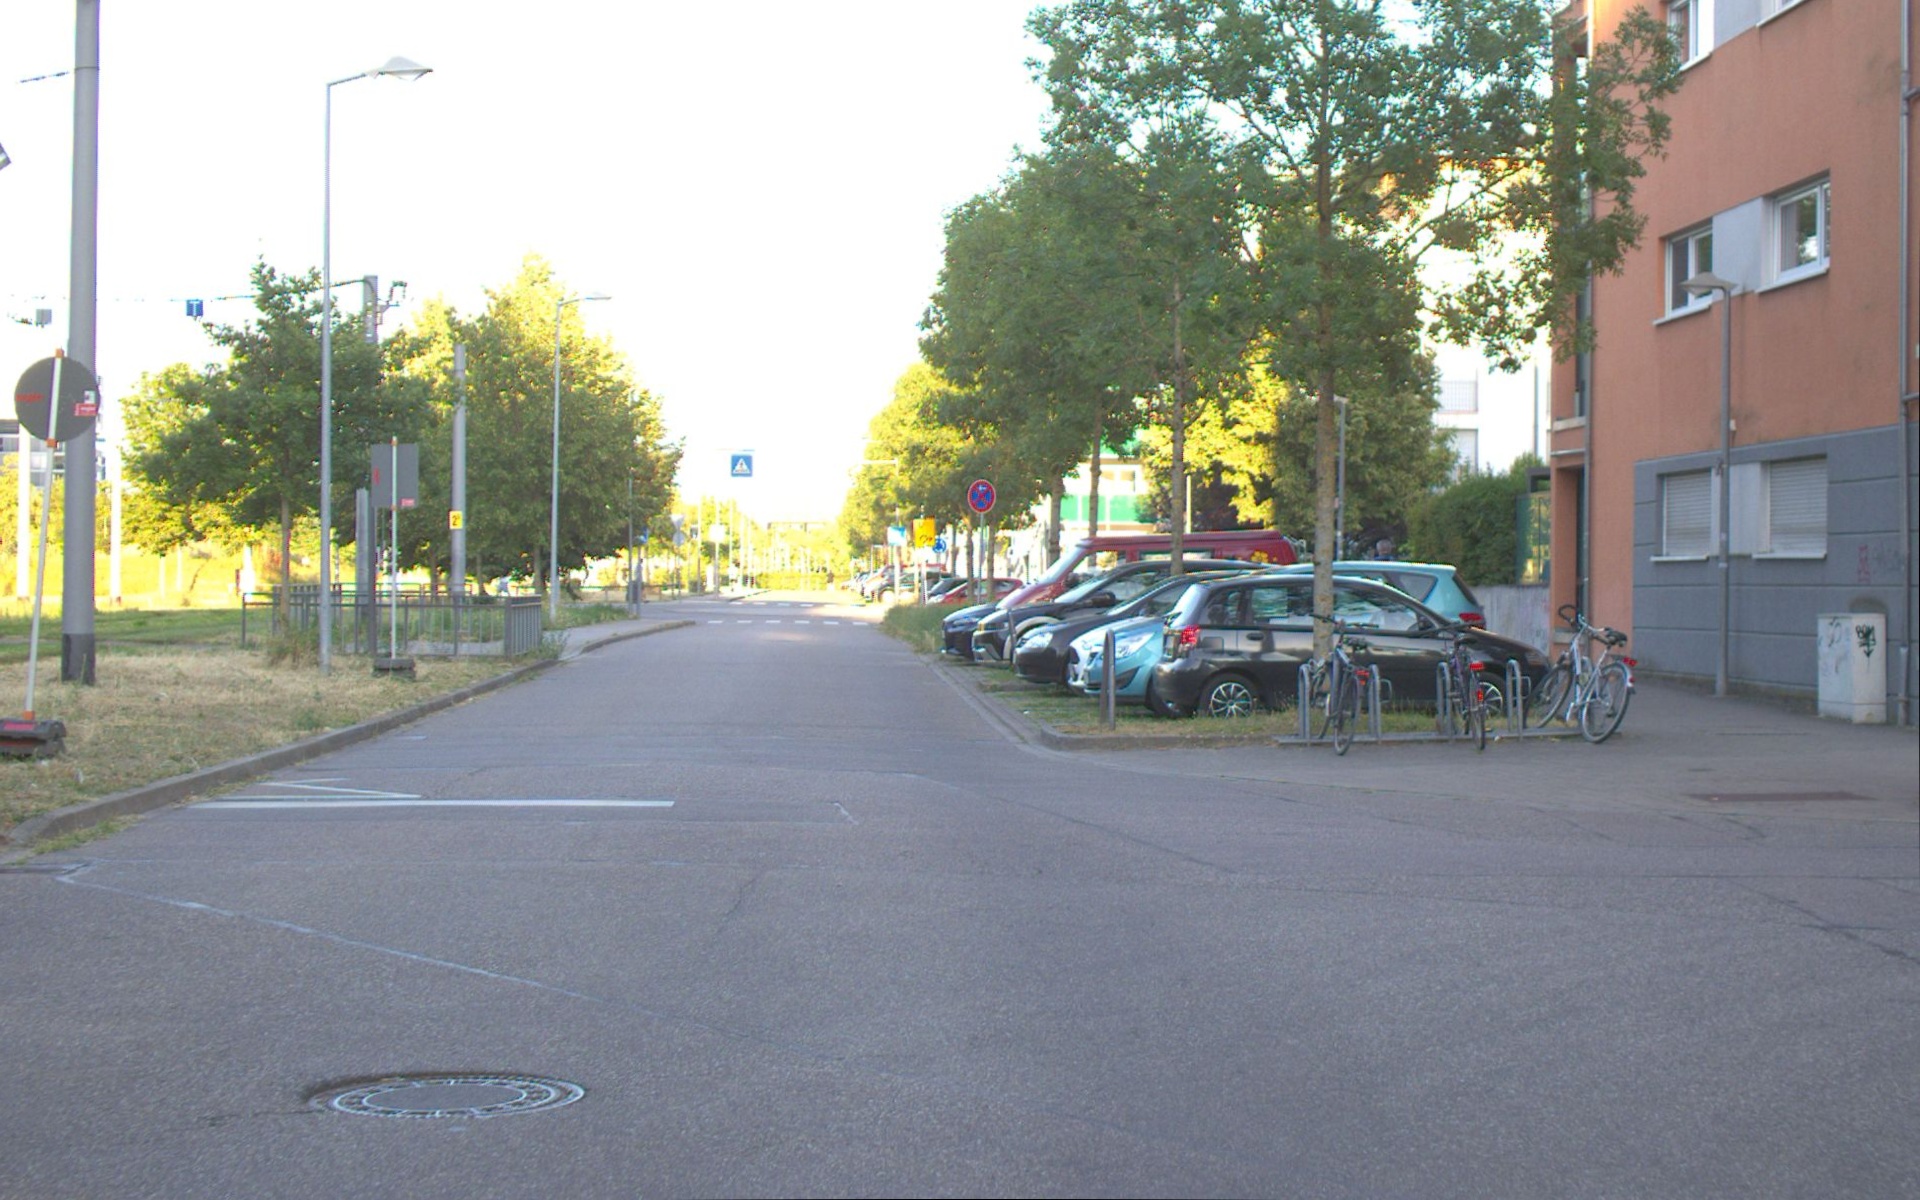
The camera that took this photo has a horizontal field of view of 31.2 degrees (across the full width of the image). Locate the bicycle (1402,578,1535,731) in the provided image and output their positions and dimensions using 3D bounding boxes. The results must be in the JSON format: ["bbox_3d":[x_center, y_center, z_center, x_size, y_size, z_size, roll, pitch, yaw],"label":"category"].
[{"bbox_3d":[4.251,0.437,28.880,0.679,1.148,1.928,-2,3,-4],"label":"bicycle"}]

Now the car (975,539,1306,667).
[{"bbox_3d":[2.360,0.021,45.707,4.215,1.563,1.793,-1,1,-2],"label":"car"}]

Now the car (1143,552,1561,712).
[{"bbox_3d":[3.781,0.296,33.445,3.748,1.468,1.614,1,1,-7],"label":"car"}]

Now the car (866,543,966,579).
[{"bbox_3d":[-1.995,-1.782,155.055,4.484,1.590,2.000,0,1,-1],"label":"car"}]

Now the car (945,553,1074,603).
[{"bbox_3d":[1.500,-0.666,104.666,3.802,1.503,1.679,0,1,-4],"label":"car"}]

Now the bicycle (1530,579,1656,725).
[{"bbox_3d":[5.410,0.424,29.479,0.529,1.123,1.963,2,2,-4],"label":"bicycle"}]

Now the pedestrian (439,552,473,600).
[{"bbox_3d":[-18.189,-0.881,124.082,1.018,1.687,0.760,1,1,-24],"label":"pedestrian"}]

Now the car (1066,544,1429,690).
[{"bbox_3d":[3.186,0.175,38.592,3.876,1.563,1.620,1,1,-2],"label":"car"}]

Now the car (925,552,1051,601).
[{"bbox_3d":[0.864,-0.736,107.497,3.802,1.503,1.679,0,1,-4],"label":"car"}]

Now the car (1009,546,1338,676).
[{"bbox_3d":[2.524,0.147,41.161,3.773,1.490,1.539,1,-1,-2],"label":"car"}]

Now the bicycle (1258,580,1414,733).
[{"bbox_3d":[3.159,0.457,29.036,0.716,1.148,1.899,-2,3,-13],"label":"bicycle"}]

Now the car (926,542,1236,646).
[{"bbox_3d":[1.851,-0.103,53.471,4.668,1.551,1.811,0,1,-3],"label":"car"}]

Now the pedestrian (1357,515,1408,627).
[{"bbox_3d":[6.590,-0.459,53.643,0.668,1.737,0.699,0,1,-2],"label":"pedestrian"}]

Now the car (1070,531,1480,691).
[{"bbox_3d":[3.238,0.098,35.825,4.050,1.563,1.673,-1,1,-2],"label":"car"}]

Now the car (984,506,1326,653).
[{"bbox_3d":[2.844,-0.319,51.076,4.919,2.110,2.017,0,1,-1],"label":"car"}]
